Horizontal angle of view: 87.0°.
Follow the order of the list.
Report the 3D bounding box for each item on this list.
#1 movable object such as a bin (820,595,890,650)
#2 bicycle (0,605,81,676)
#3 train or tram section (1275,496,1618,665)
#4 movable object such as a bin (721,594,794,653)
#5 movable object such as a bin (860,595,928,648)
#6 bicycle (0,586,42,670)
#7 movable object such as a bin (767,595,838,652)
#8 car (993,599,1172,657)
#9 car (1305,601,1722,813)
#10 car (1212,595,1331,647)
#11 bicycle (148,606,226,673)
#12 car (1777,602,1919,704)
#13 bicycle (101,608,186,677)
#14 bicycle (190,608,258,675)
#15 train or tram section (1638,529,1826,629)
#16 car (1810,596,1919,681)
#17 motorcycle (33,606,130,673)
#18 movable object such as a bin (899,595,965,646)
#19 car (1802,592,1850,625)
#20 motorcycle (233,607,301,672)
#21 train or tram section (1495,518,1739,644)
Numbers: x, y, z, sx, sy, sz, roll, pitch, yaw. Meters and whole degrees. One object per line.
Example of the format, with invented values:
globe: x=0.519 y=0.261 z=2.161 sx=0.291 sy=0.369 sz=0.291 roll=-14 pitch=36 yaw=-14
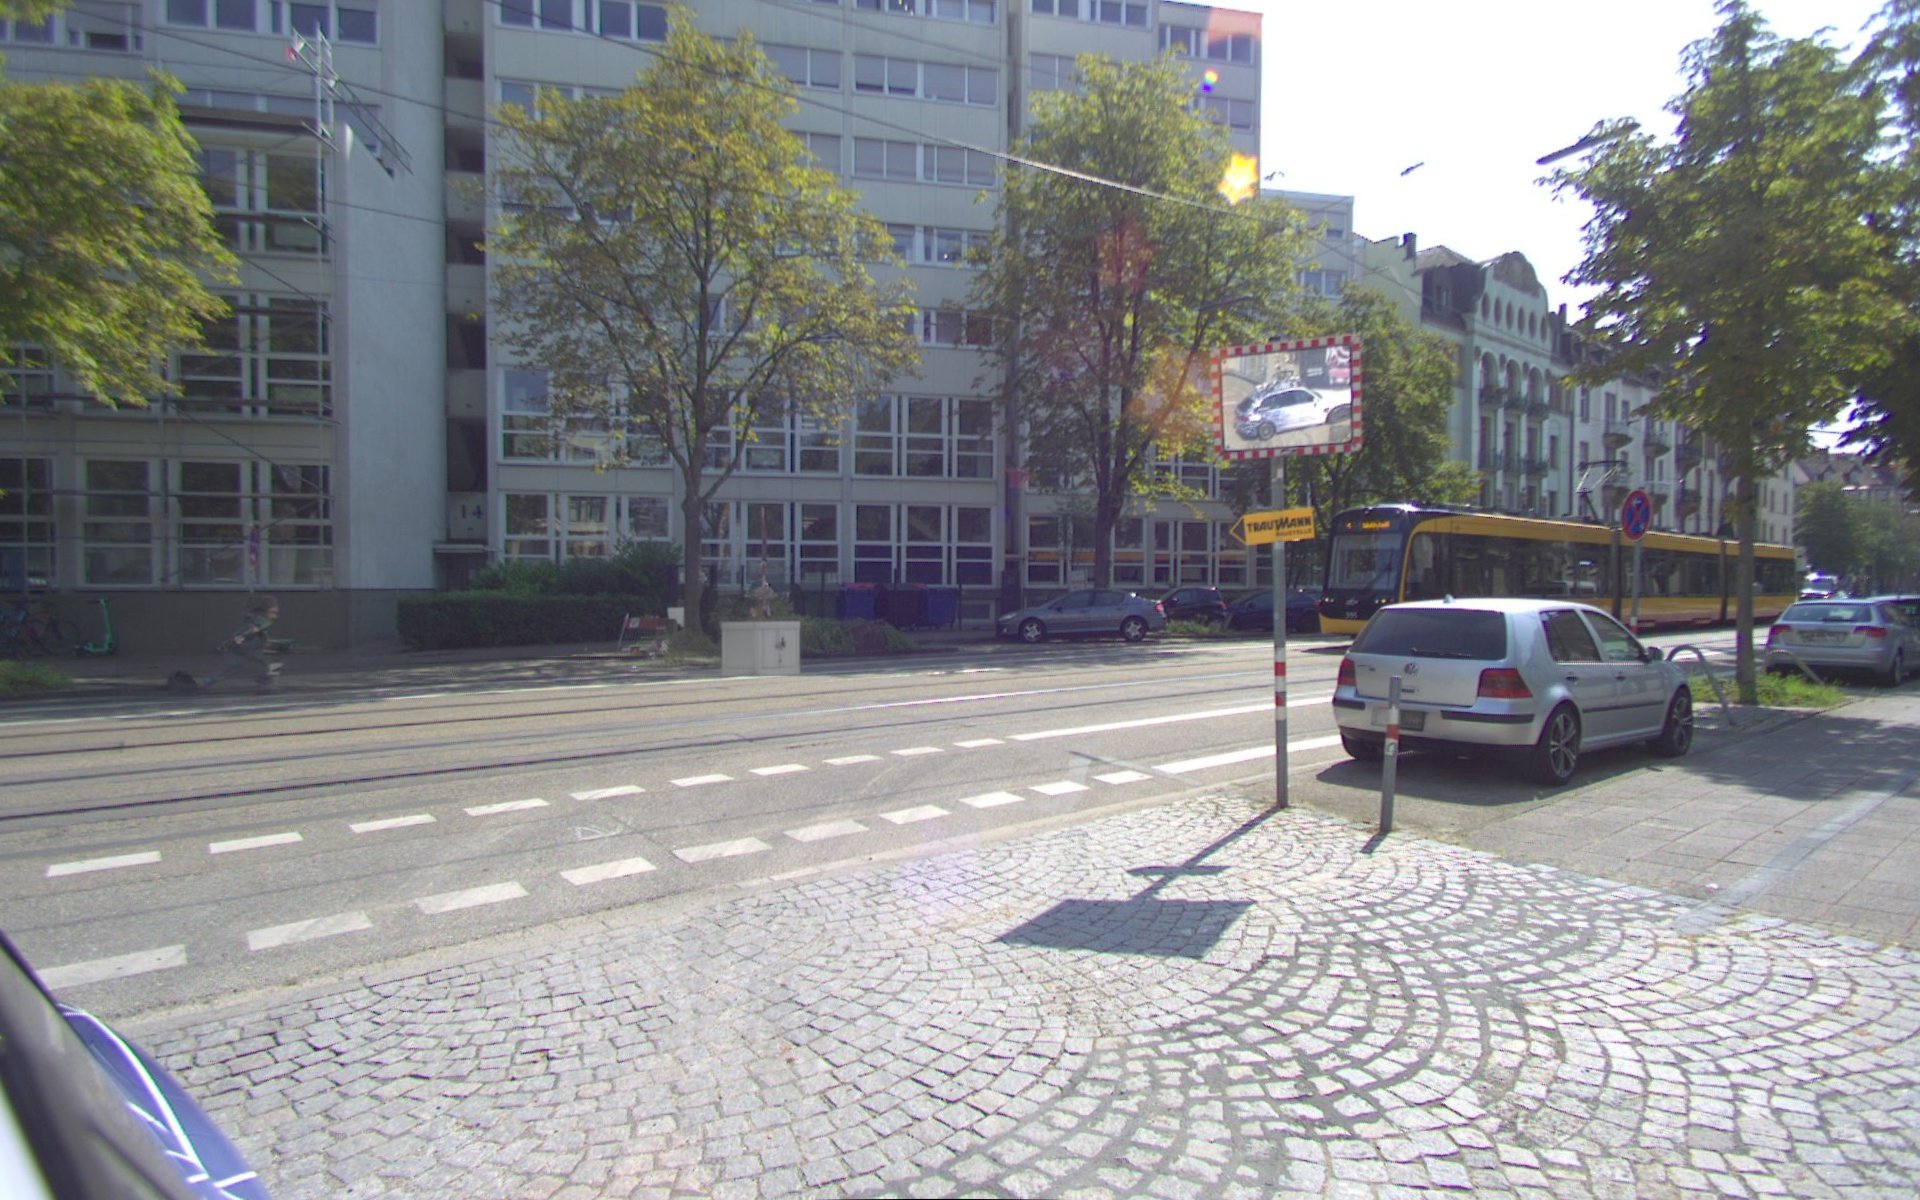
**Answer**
movable object such as a bin: x=-3.100 y=0.635 z=29.750 sx=1.333 sy=1.571 sz=1.691 roll=0 pitch=0 yaw=-40
bicycle: x=-17.834 y=0.741 z=19.426 sx=0.591 sy=1.177 sz=2.354 roll=1 pitch=2 yaw=-19
train or tram section: x=13.663 y=-0.529 z=27.541 sx=12.214 sy=3.732 sz=3.515 roll=-1 pitch=1 yaw=-39
movable object such as a bin: x=-5.610 y=0.633 z=27.978 sx=1.333 sy=1.571 sz=1.691 roll=0 pitch=0 yaw=-40
movable object such as a bin: x=-2.022 y=0.630 z=30.855 sx=1.333 sy=1.571 sz=1.691 roll=0 pitch=0 yaw=-40
bicycle: x=-18.440 y=0.534 z=19.233 sx=0.591 sy=1.537 sz=2.354 roll=1 pitch=2 yaw=-19
movable object such as a bin: x=-4.523 y=0.633 z=28.936 sx=1.333 sy=1.571 sz=1.691 roll=0 pitch=0 yaw=-40
car: x=3.268 y=0.740 z=27.435 sx=4.629 sy=1.462 sz=1.674 roll=-1 pitch=0 yaw=5
car: x=4.904 y=0.752 z=8.828 sx=3.671 sy=1.457 sz=1.801 roll=0 pitch=-1 yaw=-36
car: x=10.204 y=0.664 z=33.390 sx=3.548 sy=1.586 sz=1.671 roll=1 pitch=1 yaw=10
bicycle: x=-15.467 y=0.757 z=20.315 sx=0.611 sy=1.177 sz=2.354 roll=1 pitch=2 yaw=-21
car: x=15.389 y=0.812 z=17.160 sx=3.582 sy=1.523 sz=1.649 roll=0 pitch=1 yaw=-39
bicycle: x=-16.117 y=0.795 z=20.043 sx=0.611 sy=1.177 sz=2.354 roll=1 pitch=2 yaw=-21
bicycle: x=-14.881 y=0.801 z=20.514 sx=0.552 sy=1.177 sz=2.354 roll=1 pitch=2 yaw=-22
train or tram section: x=32.840 y=-0.877 z=42.748 sx=12.214 sy=3.732 sz=3.515 roll=-1 pitch=1 yaw=-39
car: x=19.425 y=0.732 z=21.078 sx=3.935 sy=1.589 sz=1.804 roll=0 pitch=1 yaw=-37
motorcycle: x=-17.181 y=0.741 z=19.852 sx=0.731 sy=1.163 sz=2.013 roll=1 pitch=2 yaw=-19
movable object such as a bin: x=-0.880 y=0.618 z=31.753 sx=1.333 sy=1.571 sz=1.691 roll=0 pitch=0 yaw=-40
car: x=65.510 y=0.615 z=76.561 sx=3.939 sy=2.459 sz=2.252 roll=0 pitch=1 yaw=-42
motorcycle: x=-14.277 y=0.783 z=20.896 sx=0.683 sy=1.191 sz=1.851 roll=1 pitch=2 yaw=-19
train or tram section: x=23.184 y=-0.678 z=35.254 sx=12.214 sy=3.732 sz=3.515 roll=-1 pitch=1 yaw=-39
